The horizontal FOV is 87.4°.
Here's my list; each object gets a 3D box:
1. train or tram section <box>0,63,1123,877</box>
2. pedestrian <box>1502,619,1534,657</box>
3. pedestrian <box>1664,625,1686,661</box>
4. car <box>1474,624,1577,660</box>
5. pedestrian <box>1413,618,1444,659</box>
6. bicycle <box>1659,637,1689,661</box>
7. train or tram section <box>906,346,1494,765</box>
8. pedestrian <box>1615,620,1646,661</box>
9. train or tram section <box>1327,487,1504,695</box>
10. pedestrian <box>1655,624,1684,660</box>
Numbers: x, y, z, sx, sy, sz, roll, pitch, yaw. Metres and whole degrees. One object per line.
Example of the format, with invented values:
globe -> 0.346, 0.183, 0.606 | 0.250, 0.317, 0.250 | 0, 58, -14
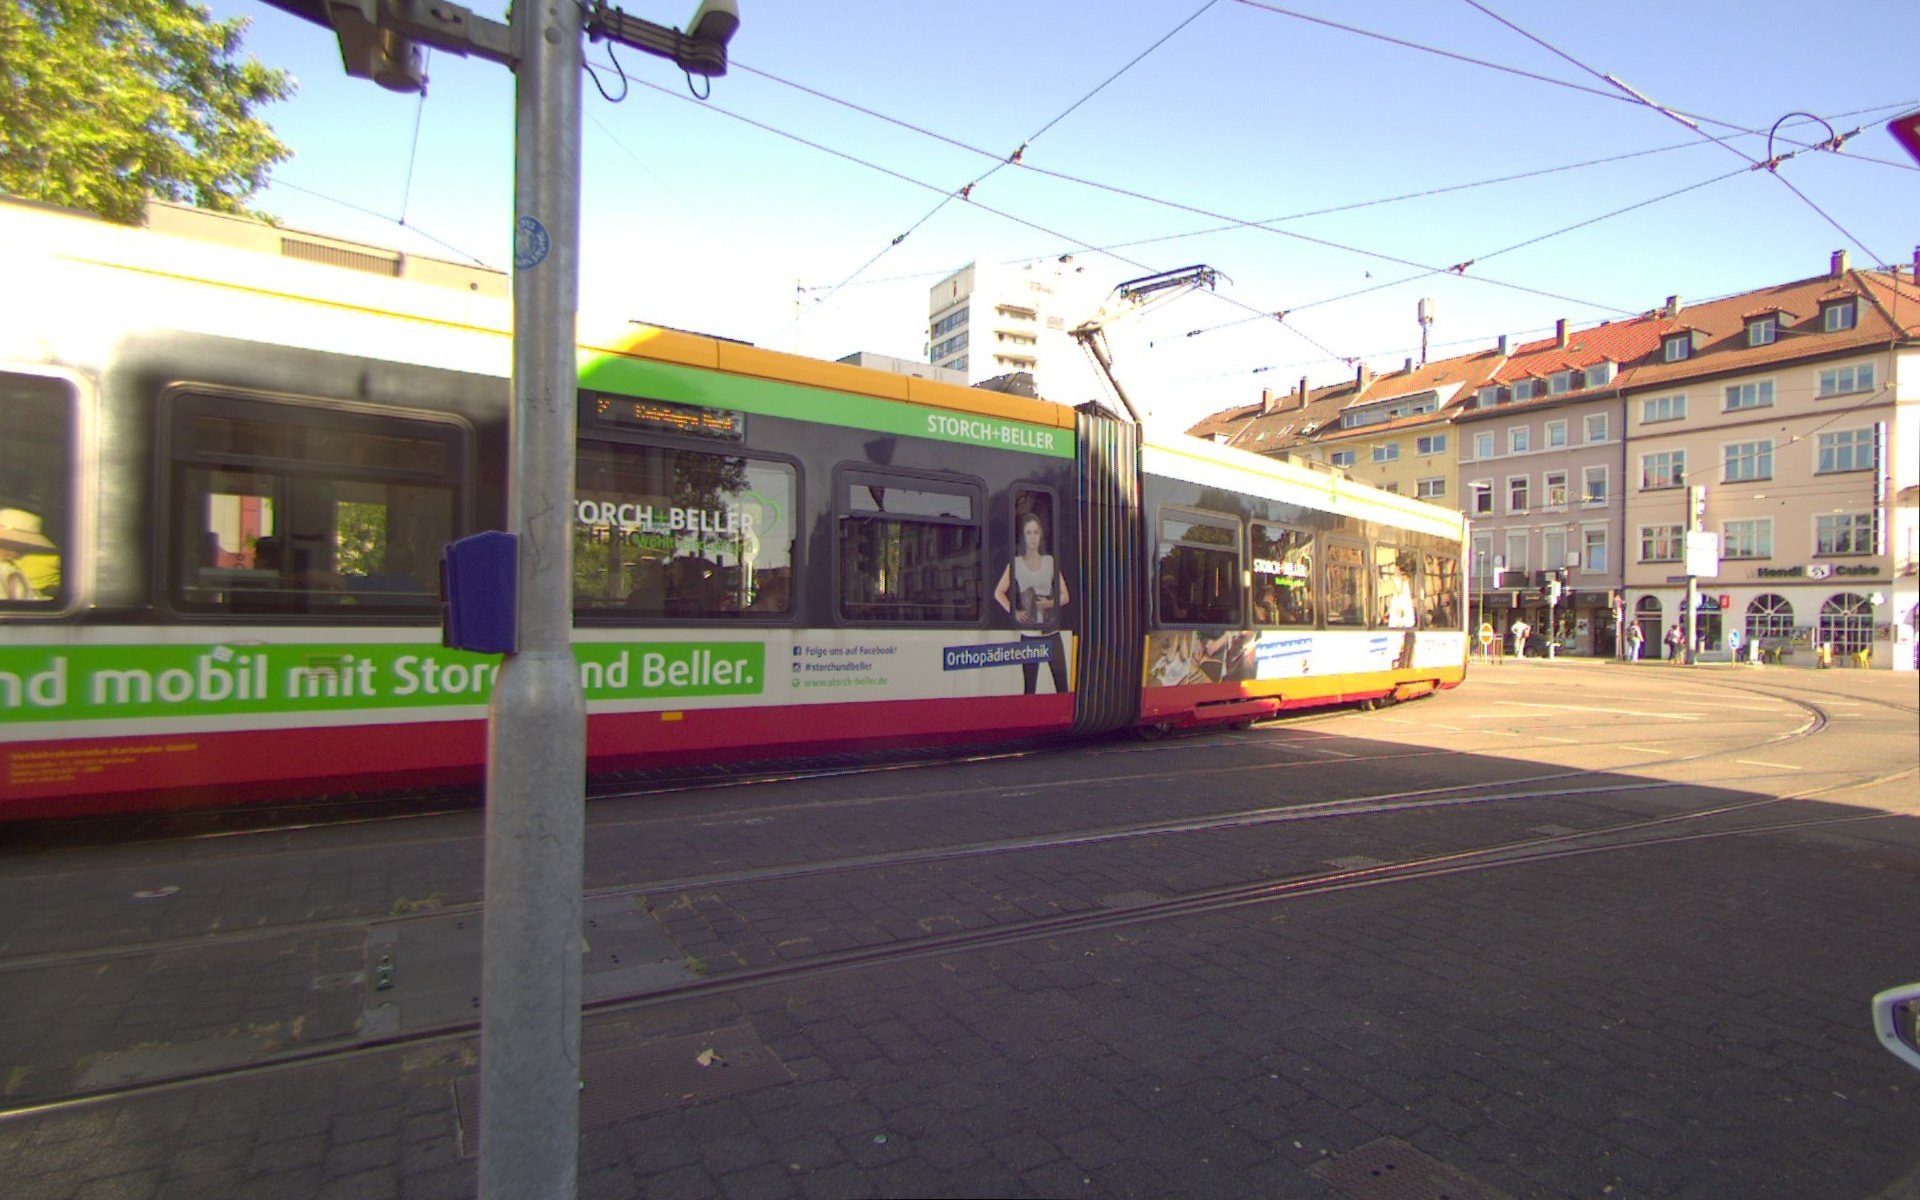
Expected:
train or tram section -> -4.529, -0.586, 6.613 | 12.931, 3.864, 2.911 | 2, -1, -37
pedestrian -> 24.457, 1.662, 44.014 | 0.821, 1.598, 0.847 | 2, 0, -20
pedestrian -> 34.181, 2.053, 48.029 | 0.743, 1.692, 0.579 | 2, 0, -30
car -> 30.826, 2.283, 54.853 | 2.277, 1.734, 4.350 | 2, 0, -27
pedestrian -> 18.677, 1.537, 40.057 | 0.867, 1.598, 0.665 | 2, 0, -2
bicycle -> 34.125, 2.353, 48.002 | 1.479, 1.091, 0.570 | 2, 0, -30
train or tram section -> 4.713, -0.275, 15.026 | 2.899, 3.864, 12.754 | 0, -1, 41
pedestrian -> 26.585, 1.597, 39.833 | 0.817, 1.598, 0.552 | 2, 0, -2
train or tram section -> 10.751, -0.061, 24.916 | 2.883, 3.864, 12.122 | 1, -1, 19
pedestrian -> 31.770, 1.871, 45.015 | 0.816, 1.598, 0.728 | 2, 0, 14
